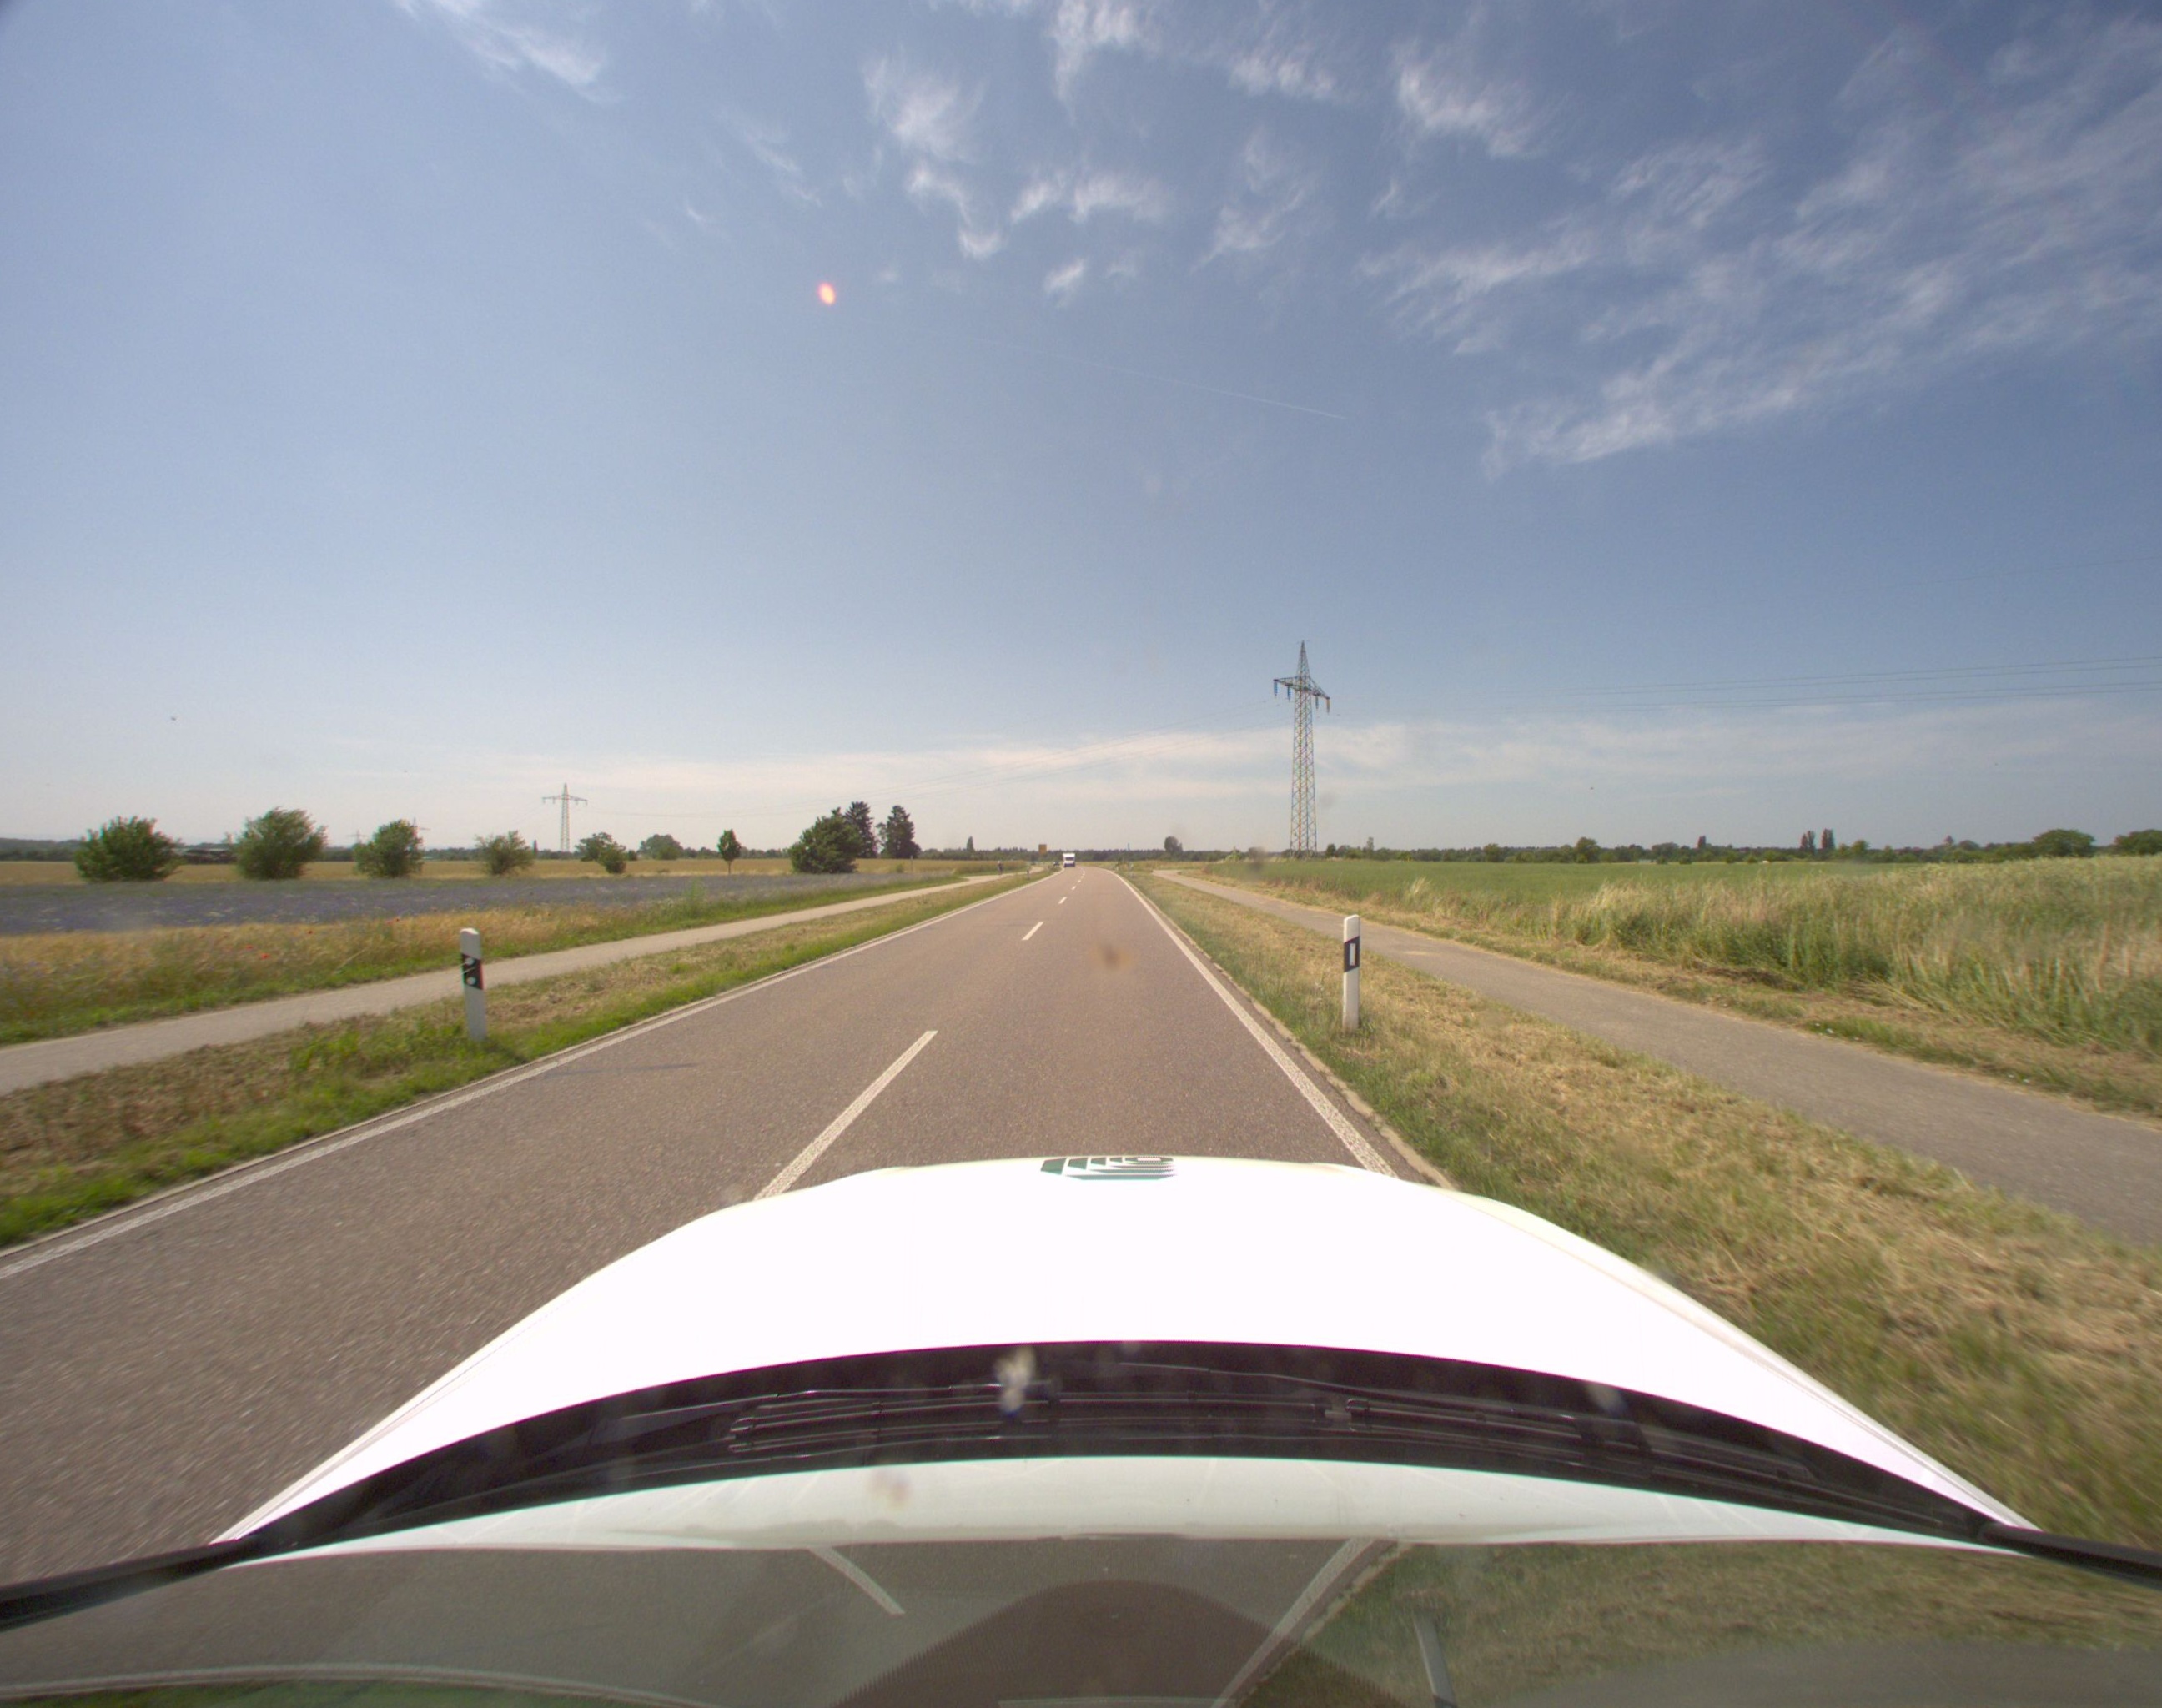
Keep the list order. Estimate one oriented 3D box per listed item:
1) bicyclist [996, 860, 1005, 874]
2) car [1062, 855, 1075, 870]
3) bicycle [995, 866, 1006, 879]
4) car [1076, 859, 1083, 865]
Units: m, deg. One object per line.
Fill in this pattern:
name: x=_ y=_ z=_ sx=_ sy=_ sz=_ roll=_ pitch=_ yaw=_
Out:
bicyclist: x=-7.804 y=1.259 z=78.774 sx=0.699 sy=1.331 sz=0.965 roll=-1 pitch=-1 yaw=1
car: x=-2.454 y=1.557 z=160.169 sx=2.389 sy=2.847 sz=7.629 roll=-1 pitch=0 yaw=1
bicycle: x=-7.767 y=1.794 z=78.663 sx=0.760 sy=1.229 sz=2.216 roll=-1 pitch=0 yaw=1
car: x=-0.366 y=1.978 z=205.329 sx=1.618 sy=1.491 sz=3.999 roll=-1 pitch=0 yaw=0
